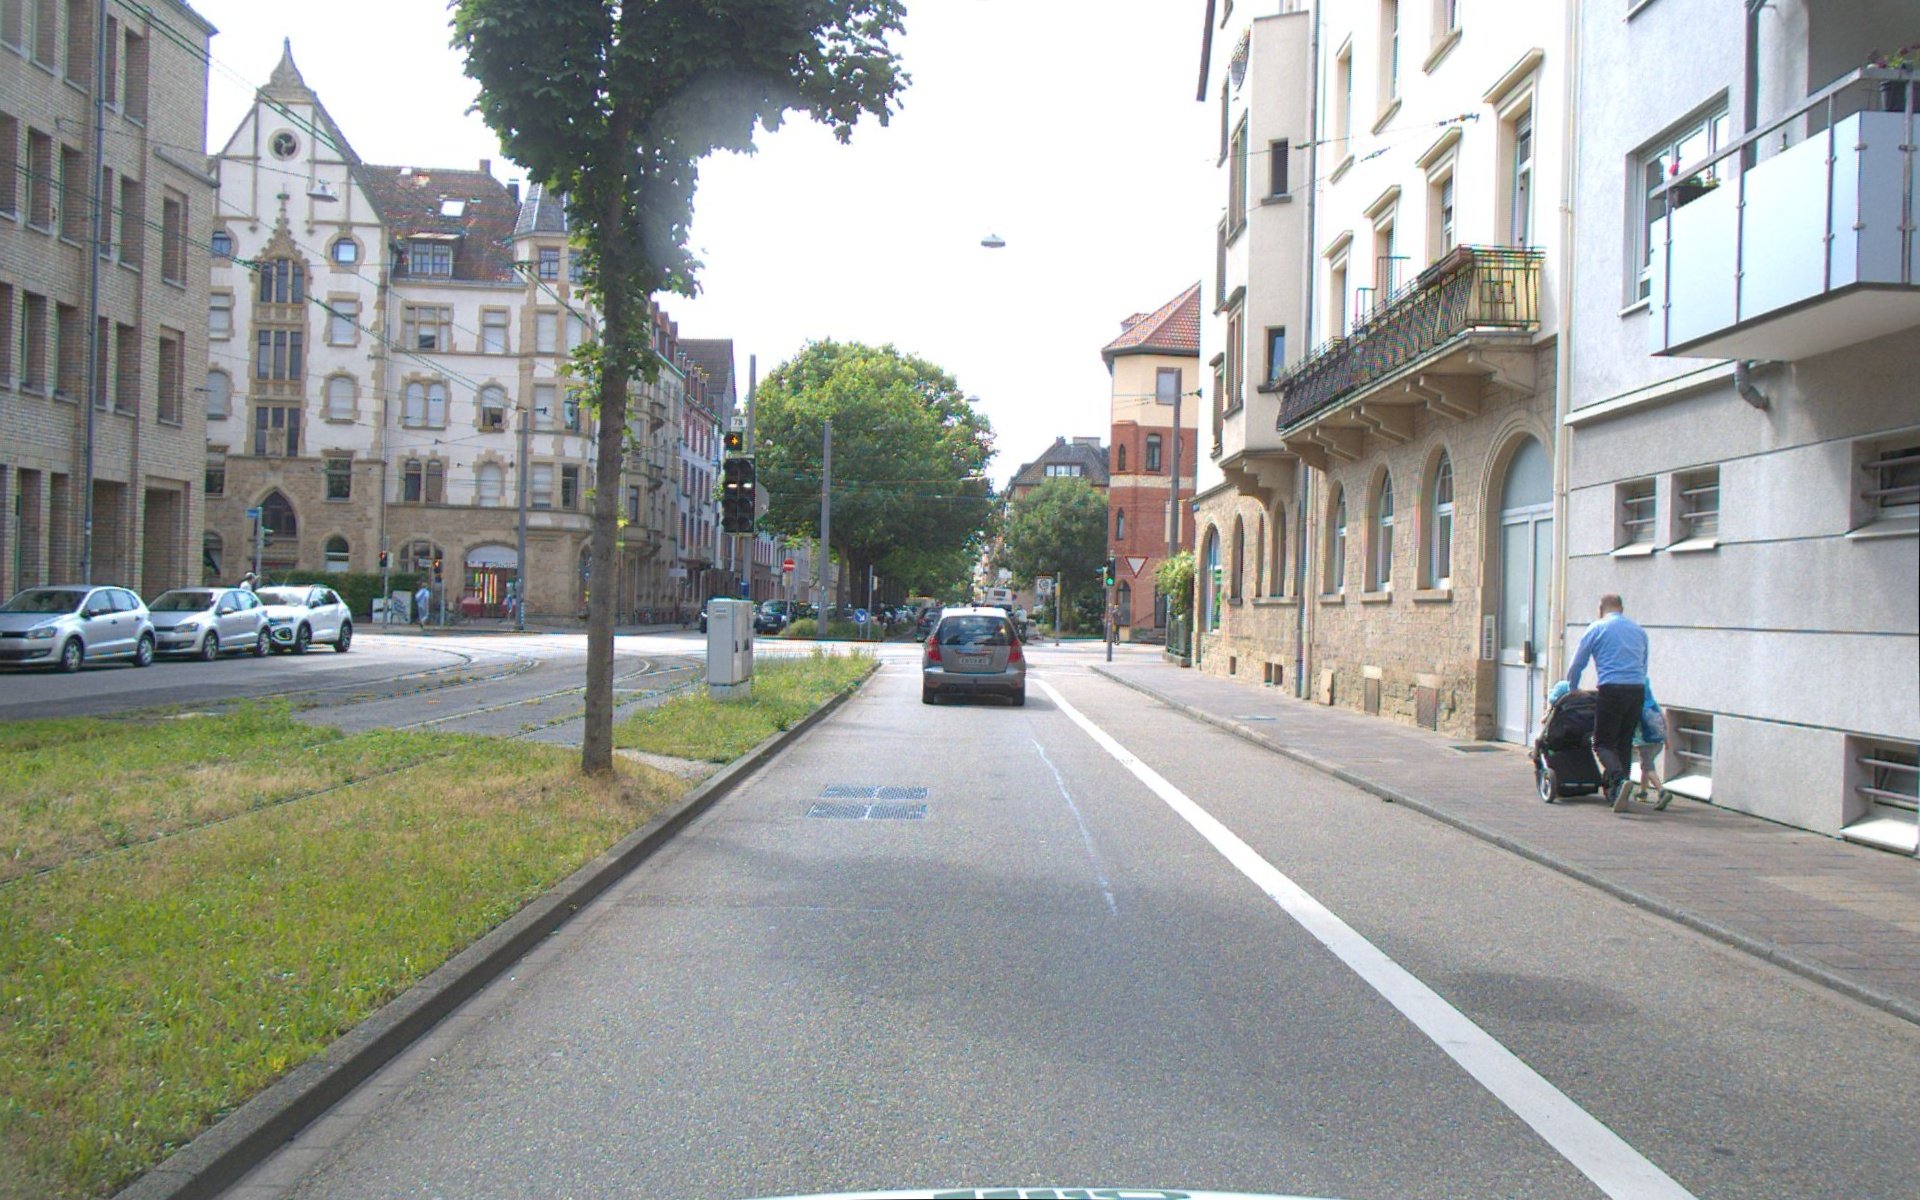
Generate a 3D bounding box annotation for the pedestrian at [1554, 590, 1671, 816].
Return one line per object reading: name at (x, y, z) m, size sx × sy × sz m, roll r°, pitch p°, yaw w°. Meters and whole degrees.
pedestrian at (5.283, 0.807, 13.427) m, size 0.608 × 1.769 × 0.877 m, roll 0°, pitch -1°, yaw 1°

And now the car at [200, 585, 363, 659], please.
car at (-15.482, 0.491, 38.002) m, size 1.893 × 1.562 × 4.258 m, roll 1°, pitch 0°, yaw 1°

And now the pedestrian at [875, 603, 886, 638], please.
pedestrian at (-4.083, 1.051, 84.728) m, size 0.483 × 1.755 × 0.653 m, roll 2°, pitch -1°, yaw -5°

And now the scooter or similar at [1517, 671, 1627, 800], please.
scooter or similar at (5.290, 1.155, 14.341) m, size 0.580 × 1.019 × 0.905 m, roll -3°, pitch -1°, yaw 1°

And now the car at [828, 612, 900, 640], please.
car at (-5.205, 1.403, 89.590) m, size 1.955 × 1.362 × 3.944 m, roll 2°, pitch -1°, yaw -39°

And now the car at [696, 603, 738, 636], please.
car at (-12.722, 1.010, 86.832) m, size 1.955 × 1.646 × 3.995 m, roll 1°, pitch -1°, yaw -5°

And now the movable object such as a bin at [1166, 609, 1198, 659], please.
movable object such as a bin at (6.710, 1.014, 50.064) m, size 0.701 × 1.498 × 0.980 m, roll 1°, pitch -1°, yaw -9°

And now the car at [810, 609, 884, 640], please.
car at (-5.965, 1.290, 86.974) m, size 1.955 × 1.521 × 3.944 m, roll 2°, pitch -1°, yaw -39°

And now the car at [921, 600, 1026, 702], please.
car at (0.254, 0.849, 28.722) m, size 1.687 × 1.634 × 3.677 m, roll 1°, pitch -1°, yaw 1°

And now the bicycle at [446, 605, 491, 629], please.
bicycle at (-22.919, 0.802, 77.143) m, size 1.881 × 1.100 × 0.777 m, roll 1°, pitch -1°, yaw -11°

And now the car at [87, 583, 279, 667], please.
car at (-15.566, 0.486, 33.384) m, size 1.893 × 1.557 × 4.014 m, roll 1°, pitch 0°, yaw 1°

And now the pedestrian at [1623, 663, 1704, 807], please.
pedestrian at (5.887, 1.118, 13.852) m, size 0.447 × 1.155 × 0.494 m, roll 1°, pitch -1°, yaw 1°

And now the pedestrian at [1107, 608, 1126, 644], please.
pedestrian at (7.433, 1.224, 78.613) m, size 0.850 × 1.685 × 0.737 m, roll 1°, pitch -1°, yaw 4°

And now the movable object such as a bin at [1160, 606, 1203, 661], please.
movable object such as a bin at (6.402, 0.960, 47.895) m, size 1.028 × 1.566 × 2.100 m, roll 1°, pitch -1°, yaw 2°

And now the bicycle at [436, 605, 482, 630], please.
bicycle at (-22.606, 0.782, 74.640) m, size 1.881 × 1.100 × 0.777 m, roll 1°, pitch -1°, yaw -11°

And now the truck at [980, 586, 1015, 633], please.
truck at (2.484, 0.627, 107.949) m, size 2.078 × 3.022 × 4.002 m, roll 1°, pitch -1°, yaw 4°

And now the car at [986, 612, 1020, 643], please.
car at (2.480, 1.568, 94.856) m, size 1.715 × 1.661 × 3.501 m, roll 2°, pitch 0°, yaw 4°

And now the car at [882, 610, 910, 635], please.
car at (-4.284, 1.509, 111.354) m, size 1.716 × 1.661 × 3.499 m, roll 2°, pitch 0°, yaw 1°

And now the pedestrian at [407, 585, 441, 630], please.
pedestrian at (-21.058, 0.300, 64.992) m, size 1.016 × 1.752 × 0.763 m, roll 2°, pitch -1°, yaw -44°

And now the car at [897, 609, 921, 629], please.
car at (-4.042, 1.536, 132.042) m, size 1.716 × 1.543 × 3.499 m, roll 2°, pitch 0°, yaw 1°

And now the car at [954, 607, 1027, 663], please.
car at (0.852, 0.953, 46.987) m, size 1.939 × 1.467 × 4.000 m, roll 2°, pitch 0°, yaw 1°

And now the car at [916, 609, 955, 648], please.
car at (-1.108, 1.321, 77.246) m, size 1.687 × 1.736 × 3.677 m, roll 1°, pitch -1°, yaw 1°

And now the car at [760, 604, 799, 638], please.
car at (-9.623, 1.115, 88.318) m, size 1.955 × 1.758 × 3.995 m, roll 1°, pitch -1°, yaw -5°

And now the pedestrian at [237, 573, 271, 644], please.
pedestrian at (-18.620, 0.222, 43.589) m, size 0.750 × 1.827 × 0.952 m, roll 2°, pitch -1°, yaw -25°

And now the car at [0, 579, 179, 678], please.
car at (-15.356, 0.456, 28.381) m, size 1.813 × 1.557 × 4.210 m, roll 1°, pitch 0°, yaw 1°
